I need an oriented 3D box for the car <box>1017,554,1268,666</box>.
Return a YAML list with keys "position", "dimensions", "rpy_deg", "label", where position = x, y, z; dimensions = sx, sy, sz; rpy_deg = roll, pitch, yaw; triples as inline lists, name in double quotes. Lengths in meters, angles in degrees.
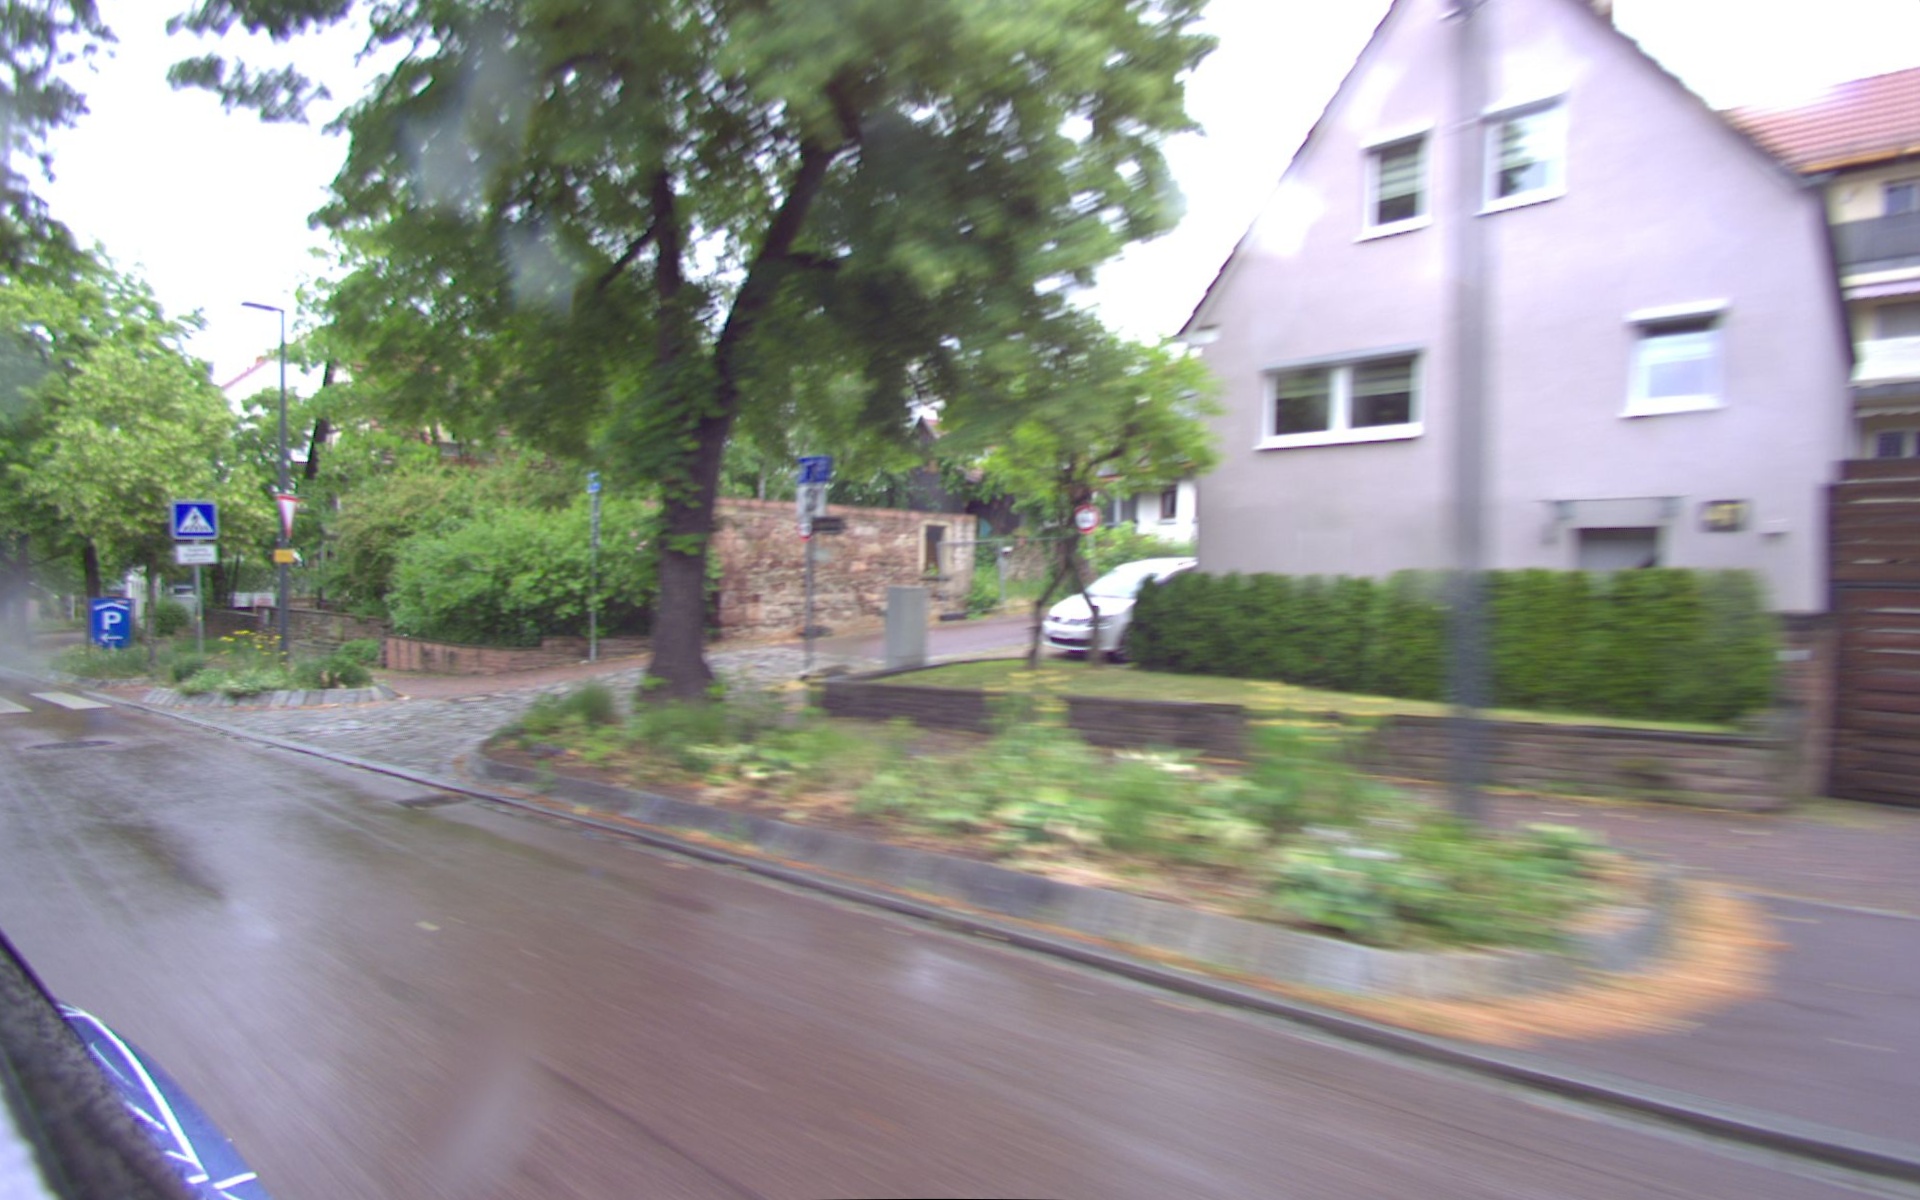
- position: [3.434, 0.086, 18.855]
  dimensions: [4.340, 1.670, 2.074]
  rpy_deg: [-4, 5, -32]
  label: "car"
